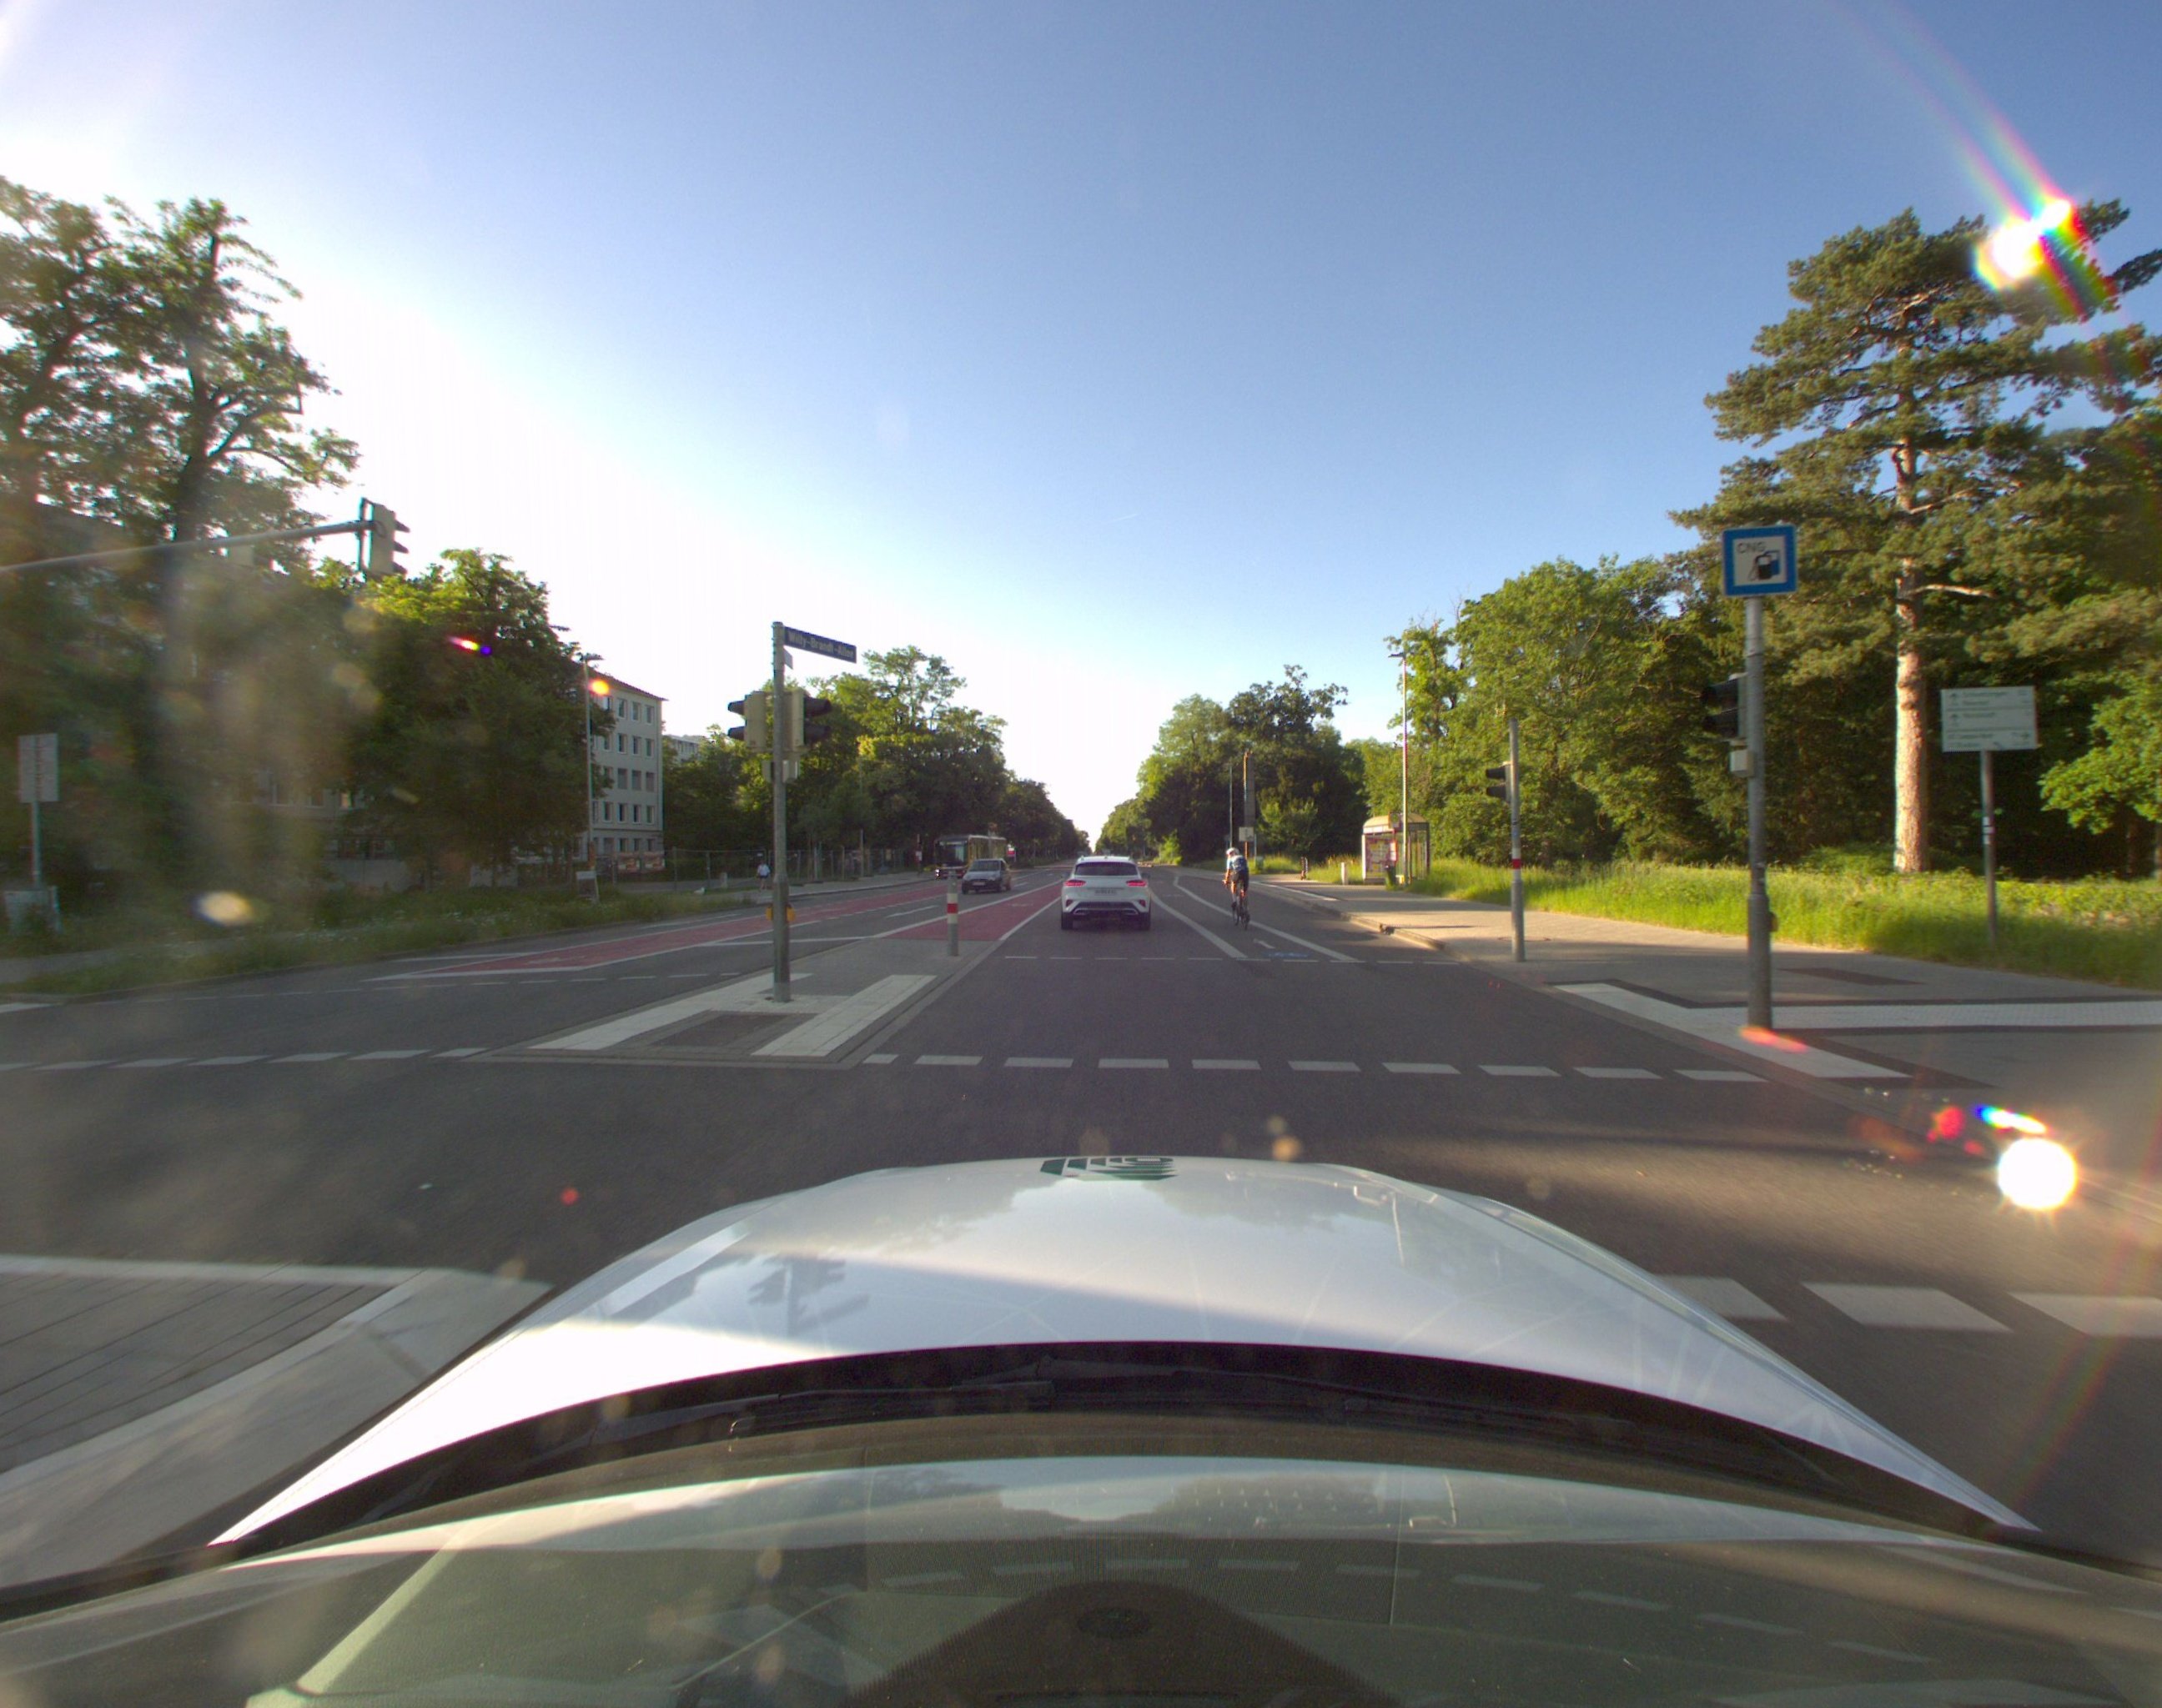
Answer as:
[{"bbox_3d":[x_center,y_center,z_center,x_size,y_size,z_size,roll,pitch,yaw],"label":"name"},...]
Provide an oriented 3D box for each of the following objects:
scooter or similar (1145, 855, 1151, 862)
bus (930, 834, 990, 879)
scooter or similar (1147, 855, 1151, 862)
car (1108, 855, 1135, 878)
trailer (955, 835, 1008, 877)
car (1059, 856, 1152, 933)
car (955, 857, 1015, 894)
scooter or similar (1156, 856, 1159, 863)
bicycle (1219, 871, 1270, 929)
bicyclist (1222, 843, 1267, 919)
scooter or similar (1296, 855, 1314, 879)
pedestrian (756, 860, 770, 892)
[{"bbox_3d":[14.418,0.953,175.133,0.682,1.423,1.674,-1,0,-12],"label":"scooter or similar"},{"bbox_3d":[-9.201,0.190,62.962,2.828,3.196,8.607,2,0,3],"label":"bus"},{"bbox_3d":[14.254,0.950,171.182,0.679,1.423,1.682,-1,0,1],"label":"scooter or similar"},{"bbox_3d":[2.782,0.815,54.843,1.668,1.417,3.578,-1,0,5],"label":"car"},{"bbox_3d":[-8.631,0.203,71.933,2.842,3.355,9.372,1,0,4],"label":"trailer"},{"bbox_3d":[0.425,0.778,17.612,1.757,1.459,3.814,-1,0,-2],"label":"car"},{"bbox_3d":[-3.956,0.844,34.207,1.703,1.421,4.558,-1,0,3],"label":"car"},{"bbox_3d":[13.645,0.924,145.414,0.531,1.250,1.542,-1,0,1],"label":"scooter or similar"},{"bbox_3d":[3.440,0.937,17.272,0.886,1.095,2.140,1,0,7],"label":"bicycle"},{"bbox_3d":[3.433,0.550,17.150,0.855,1.567,0.883,1,0,6],"label":"bicyclist"},{"bbox_3d":[12.007,0.714,43.670,0.715,1.247,1.335,-1,0,25],"label":"scooter or similar"},{"bbox_3d":[-15.442,1.055,39.551,0.450,1.534,0.571,-1,0,-2],"label":"pedestrian"}]
